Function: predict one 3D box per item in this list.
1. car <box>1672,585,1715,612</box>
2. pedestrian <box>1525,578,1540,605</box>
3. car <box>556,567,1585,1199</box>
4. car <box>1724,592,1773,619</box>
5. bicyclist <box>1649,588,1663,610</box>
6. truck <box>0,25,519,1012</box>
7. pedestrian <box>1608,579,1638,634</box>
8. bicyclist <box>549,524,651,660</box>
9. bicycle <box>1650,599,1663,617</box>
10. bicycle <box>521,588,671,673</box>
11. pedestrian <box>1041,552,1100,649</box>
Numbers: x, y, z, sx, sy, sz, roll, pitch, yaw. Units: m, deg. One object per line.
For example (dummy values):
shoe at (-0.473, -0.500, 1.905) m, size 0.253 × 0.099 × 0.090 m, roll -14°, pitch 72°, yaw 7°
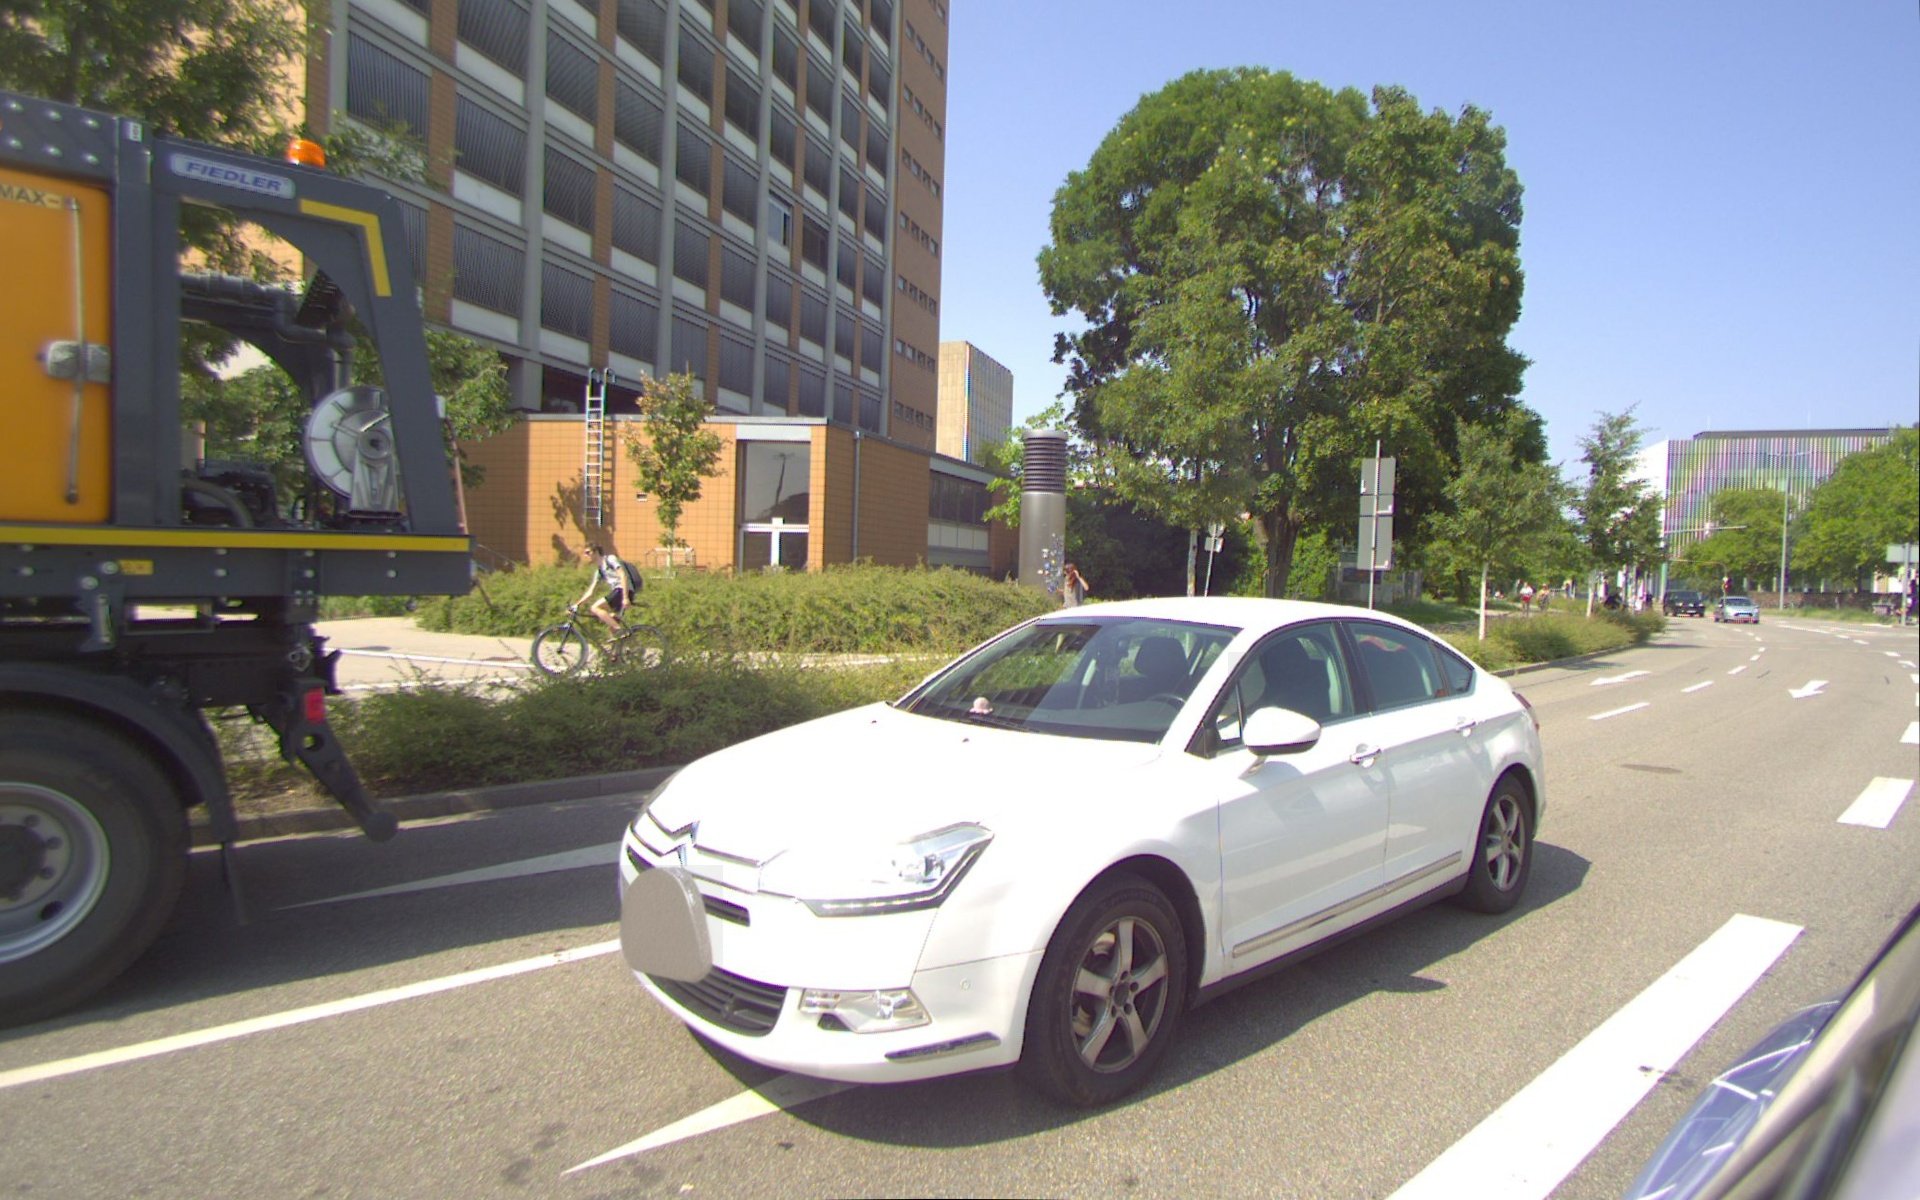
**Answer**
car at (53.446, -0.127, 73.823) m, size 1.874 × 1.943 × 4.489 m, roll 1°, pitch 1°, yaw 28°
pedestrian at (28.147, -0.414, 49.730) m, size 0.630 × 1.315 × 0.481 m, roll 0°, pitch 0°, yaw 32°
car at (0.874, 0.637, 4.353) m, size 4.528 × 1.446 × 1.772 m, roll 0°, pitch 2°, yaw -41°
car at (46.763, 0.296, 60.106) m, size 1.646 × 1.550 × 4.485 m, roll 0°, pitch 0°, yaw 30°
bicyclist at (45.508, -0.073, 66.143) m, size 0.676 × 1.417 × 1.035 m, roll 2°, pitch 1°, yaw 37°
truck at (-5.255, -0.278, 3.120) m, size 6.736 × 3.174 × 2.498 m, roll 0°, pitch 1°, yaw -39°
pedestrian at (23.731, 0.220, 36.225) m, size 0.818 × 1.926 × 0.622 m, roll 2°, pitch 1°, yaw 37°
bicyclist at (-4.514, -0.113, 12.674) m, size 0.909 × 1.625 × 0.903 m, roll 0°, pitch 1°, yaw -43°
bicycle at (45.481, 0.512, 66.121) m, size 0.591 × 1.183 × 2.206 m, roll 2°, pitch 2°, yaw 37°
bicycle at (-4.528, 0.360, 12.672) m, size 1.751 × 0.992 × 0.357 m, roll 0°, pitch 2°, yaw -41°
pedestrian at (2.015, -0.006, 18.472) m, size 0.792 × 1.720 × 0.671 m, roll 0°, pitch 1°, yaw -44°
